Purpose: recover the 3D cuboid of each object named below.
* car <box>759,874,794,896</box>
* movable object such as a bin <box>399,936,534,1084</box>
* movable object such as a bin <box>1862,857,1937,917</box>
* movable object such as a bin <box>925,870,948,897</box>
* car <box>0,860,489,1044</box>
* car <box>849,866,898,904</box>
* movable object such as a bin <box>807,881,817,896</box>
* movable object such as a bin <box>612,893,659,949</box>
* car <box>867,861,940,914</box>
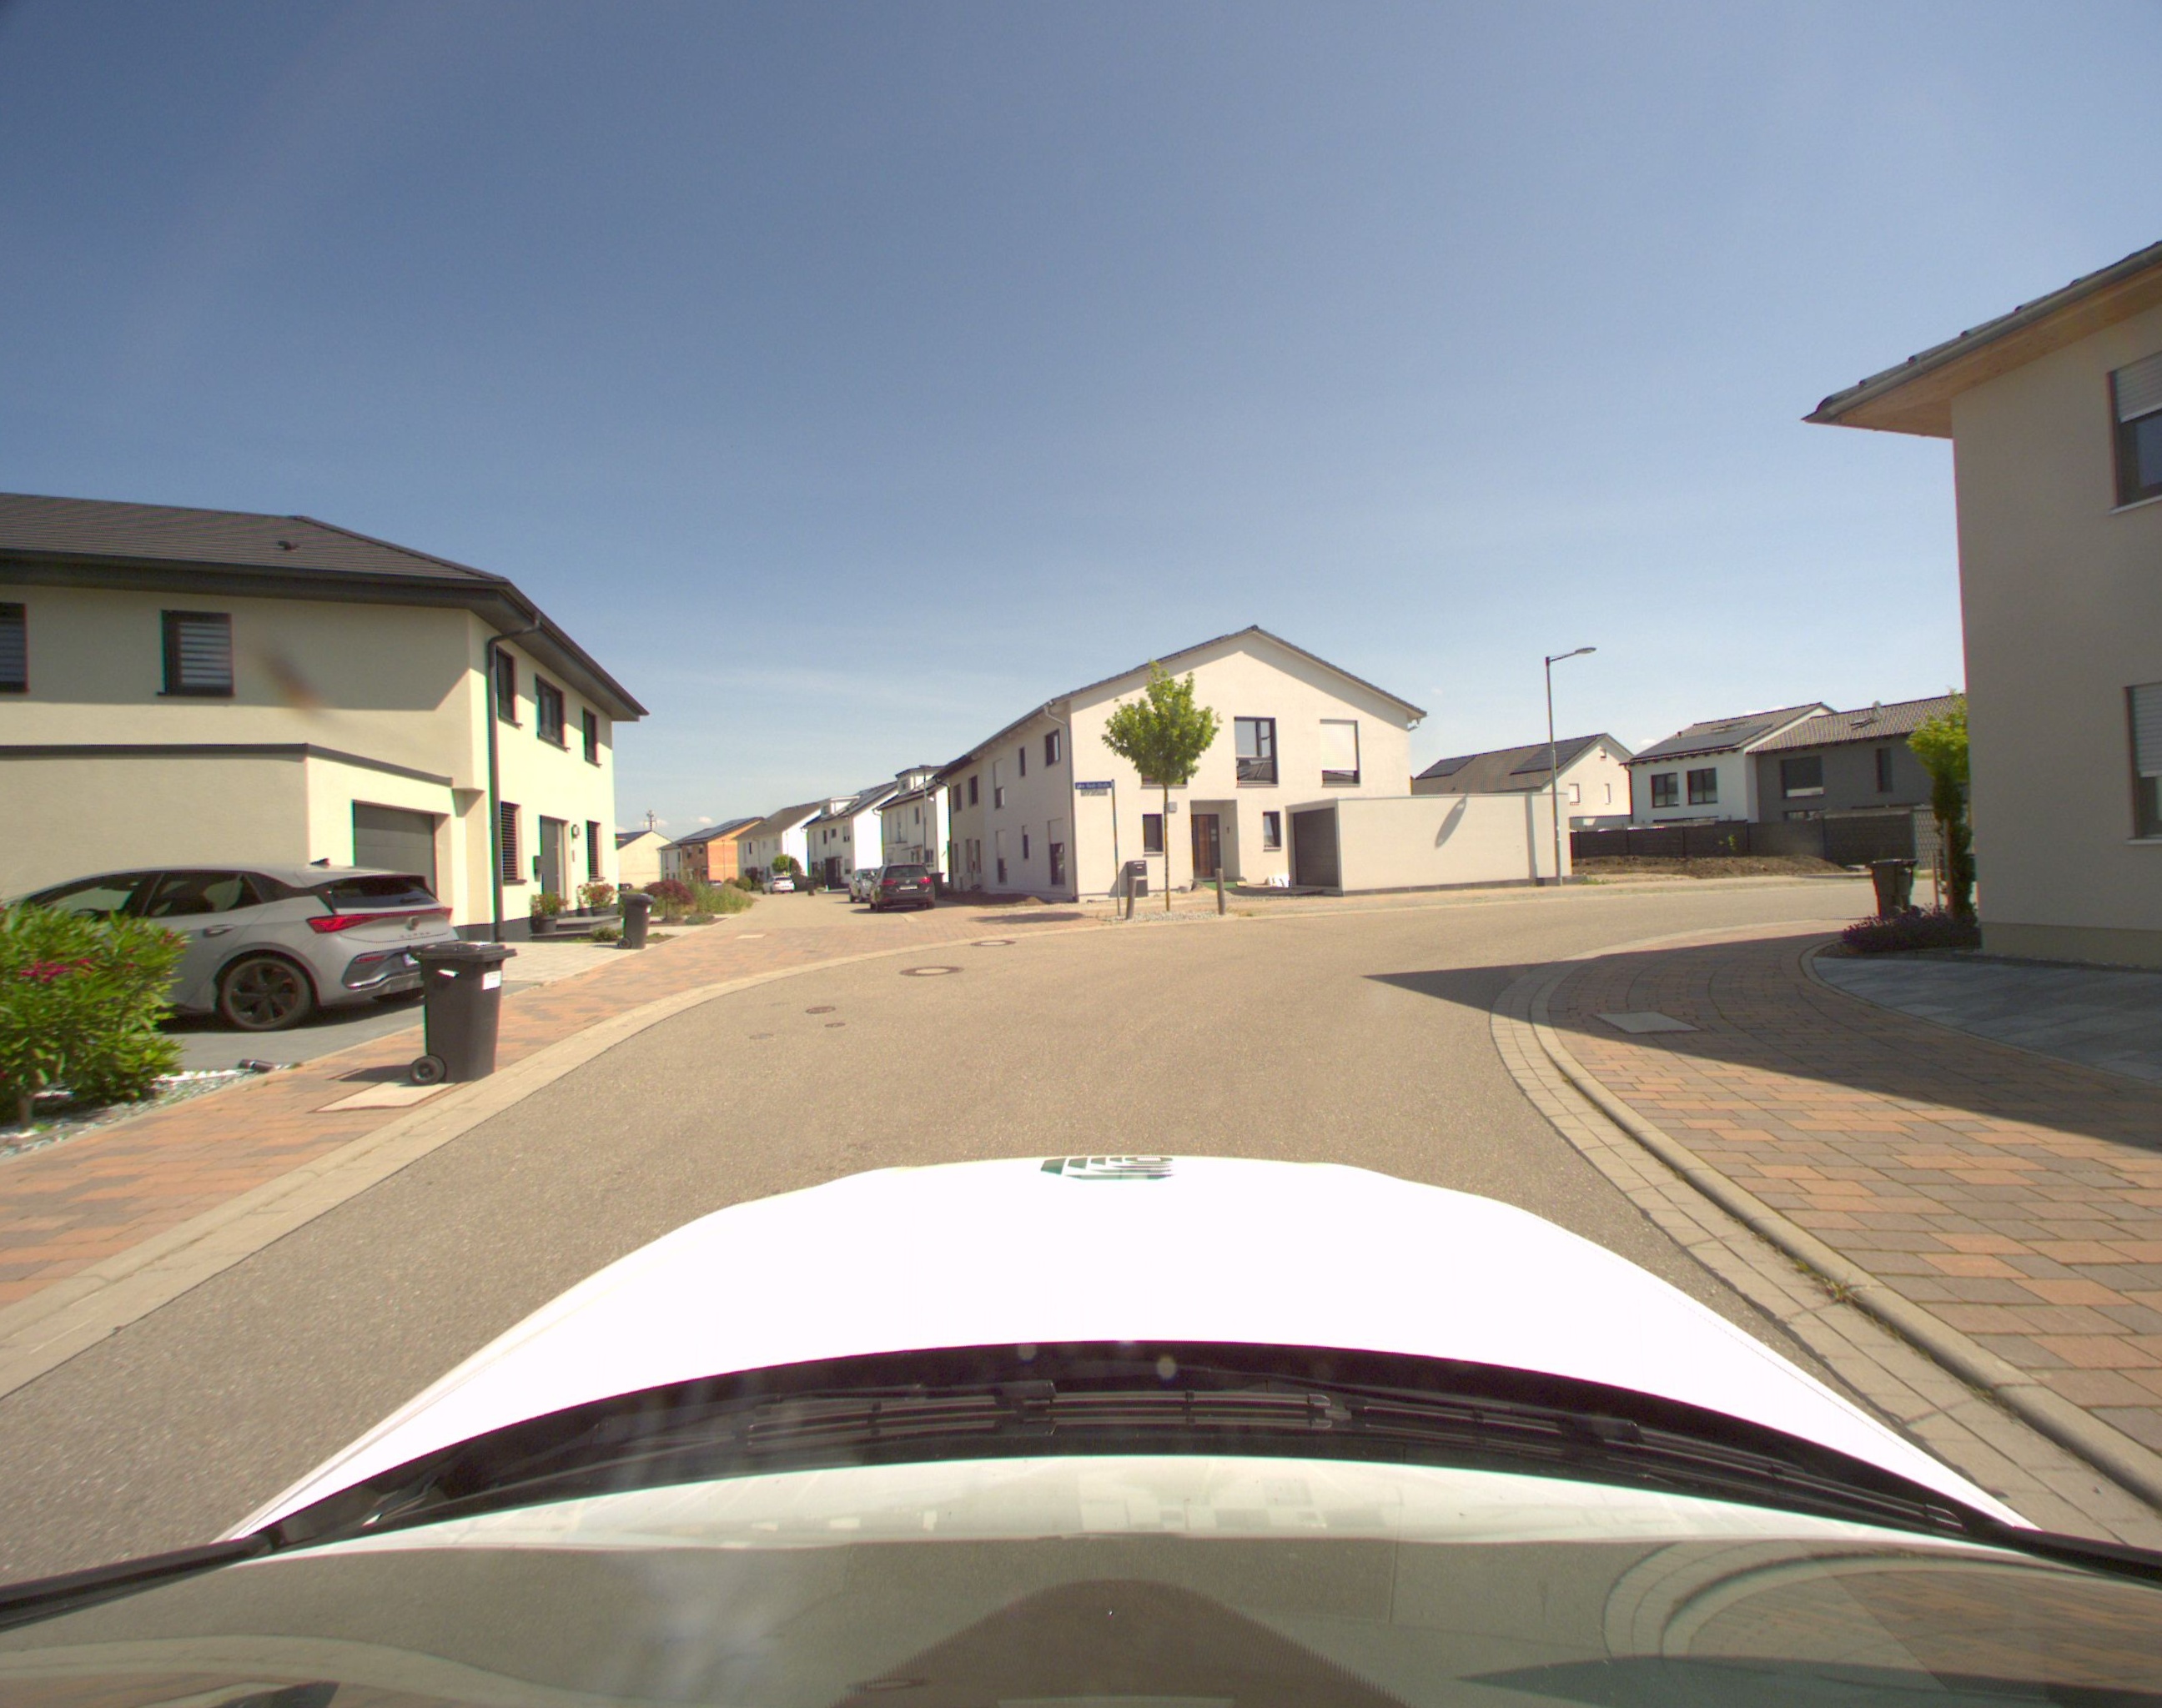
[{"bbox_3d":[-24.690,2.490,66.003,1.793,1.596,3.958,-3,0,-33],"label":"car"},{"bbox_3d":[-4.289,1.068,5.708,0.532,0.936,0.526,-1,-1,4],"label":"movable object such as a bin"},{"bbox_3d":[13.277,0.526,13.227,0.645,0.930,0.550,-2,-1,-7],"label":"movable object such as a bin"},{"bbox_3d":[-6.188,1.256,34.863,0.787,1.050,0.798,-5,0,-22],"label":"movable object such as a bin"},{"bbox_3d":[-8.495,0.866,7.955,3.982,1.486,1.750,-2,0,-6],"label":"car"},{"bbox_3d":[-8.954,1.293,34.943,1.682,1.464,3.918,-3,0,-19],"label":"car"},{"bbox_3d":[-17.529,2.241,53.031,0.559,0.949,0.245,-2,-1,-24],"label":"movable object such as a bin"},{"bbox_3d":[-7.611,1.131,13.931,0.616,0.927,0.421,1,-2,-16],"label":"movable object such as a bin"},{"bbox_3d":[-5.621,0.999,25.456,1.732,1.423,3.974,-3,0,-19],"label":"car"}]
